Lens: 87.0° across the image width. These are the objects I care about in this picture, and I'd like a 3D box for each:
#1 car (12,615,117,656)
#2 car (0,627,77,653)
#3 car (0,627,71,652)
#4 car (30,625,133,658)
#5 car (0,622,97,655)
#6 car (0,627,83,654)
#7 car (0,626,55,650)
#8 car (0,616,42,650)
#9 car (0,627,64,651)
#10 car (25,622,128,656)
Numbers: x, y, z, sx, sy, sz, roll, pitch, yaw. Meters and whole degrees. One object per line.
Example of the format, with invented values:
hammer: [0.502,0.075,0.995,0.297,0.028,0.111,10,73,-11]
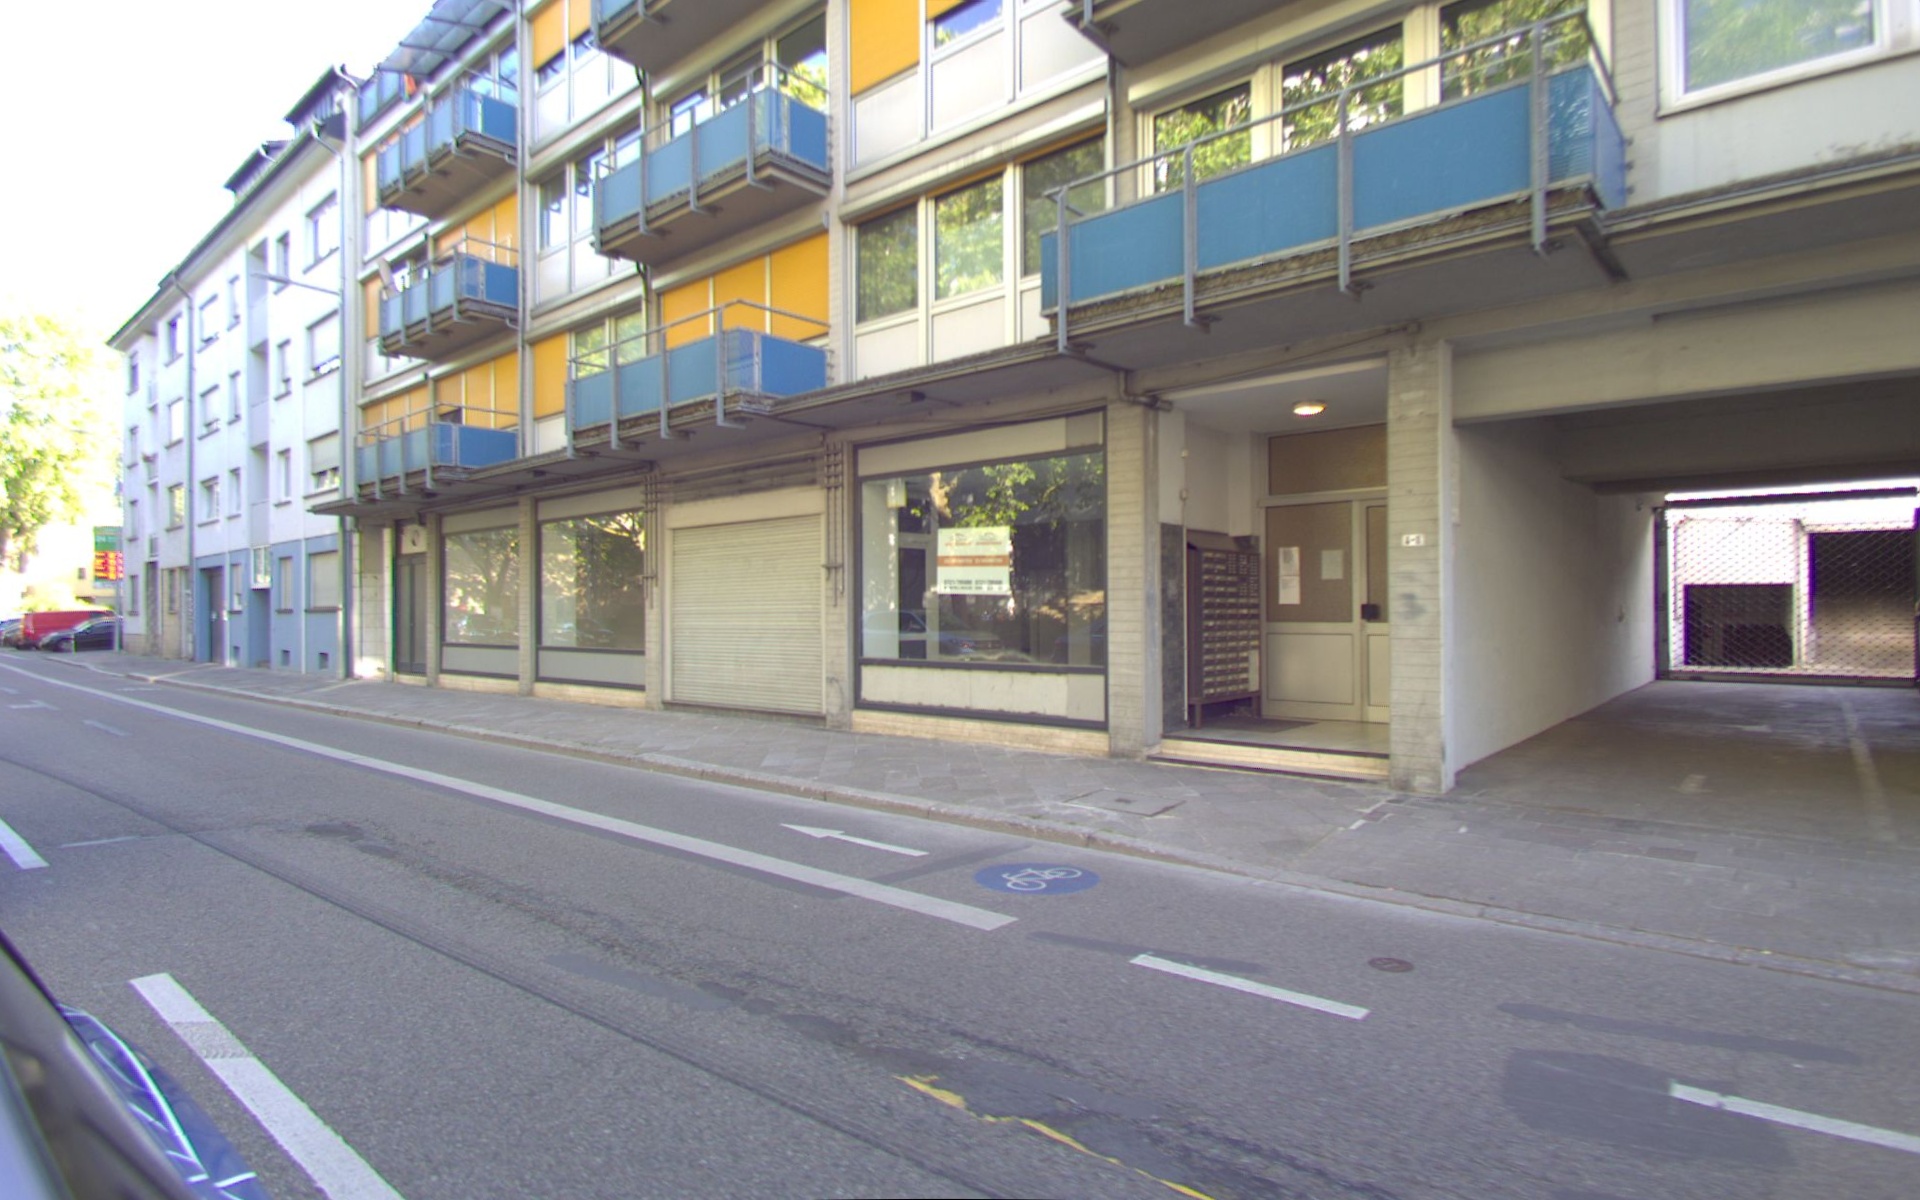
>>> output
car: [-45.362,1.762,51.305,1.749,1.921,3.854,-2,-1,42]
car: [-55.020,2.341,59.997,1.594,1.385,3.854,-1,0,42]
car: [-57.037,2.408,61.875,1.525,1.343,3.854,-1,0,42]
car: [-41.450,1.931,47.791,1.534,1.420,3.551,-2,-1,42]
car: [-47.709,1.983,52.842,1.603,1.598,3.854,-1,0,42]
car: [-53.506,2.317,58.658,1.594,1.385,3.854,-1,0,42]
car: [-60.873,2.431,65.194,1.538,1.451,3.733,-1,0,42]
car: [-64.372,2.220,68.024,1.725,2.193,3.854,-1,0,42]
car: [-58.843,2.437,63.436,1.525,1.343,3.854,-1,0,42]
car: [-43.168,1.891,49.488,1.602,1.521,3.620,-1,0,42]
